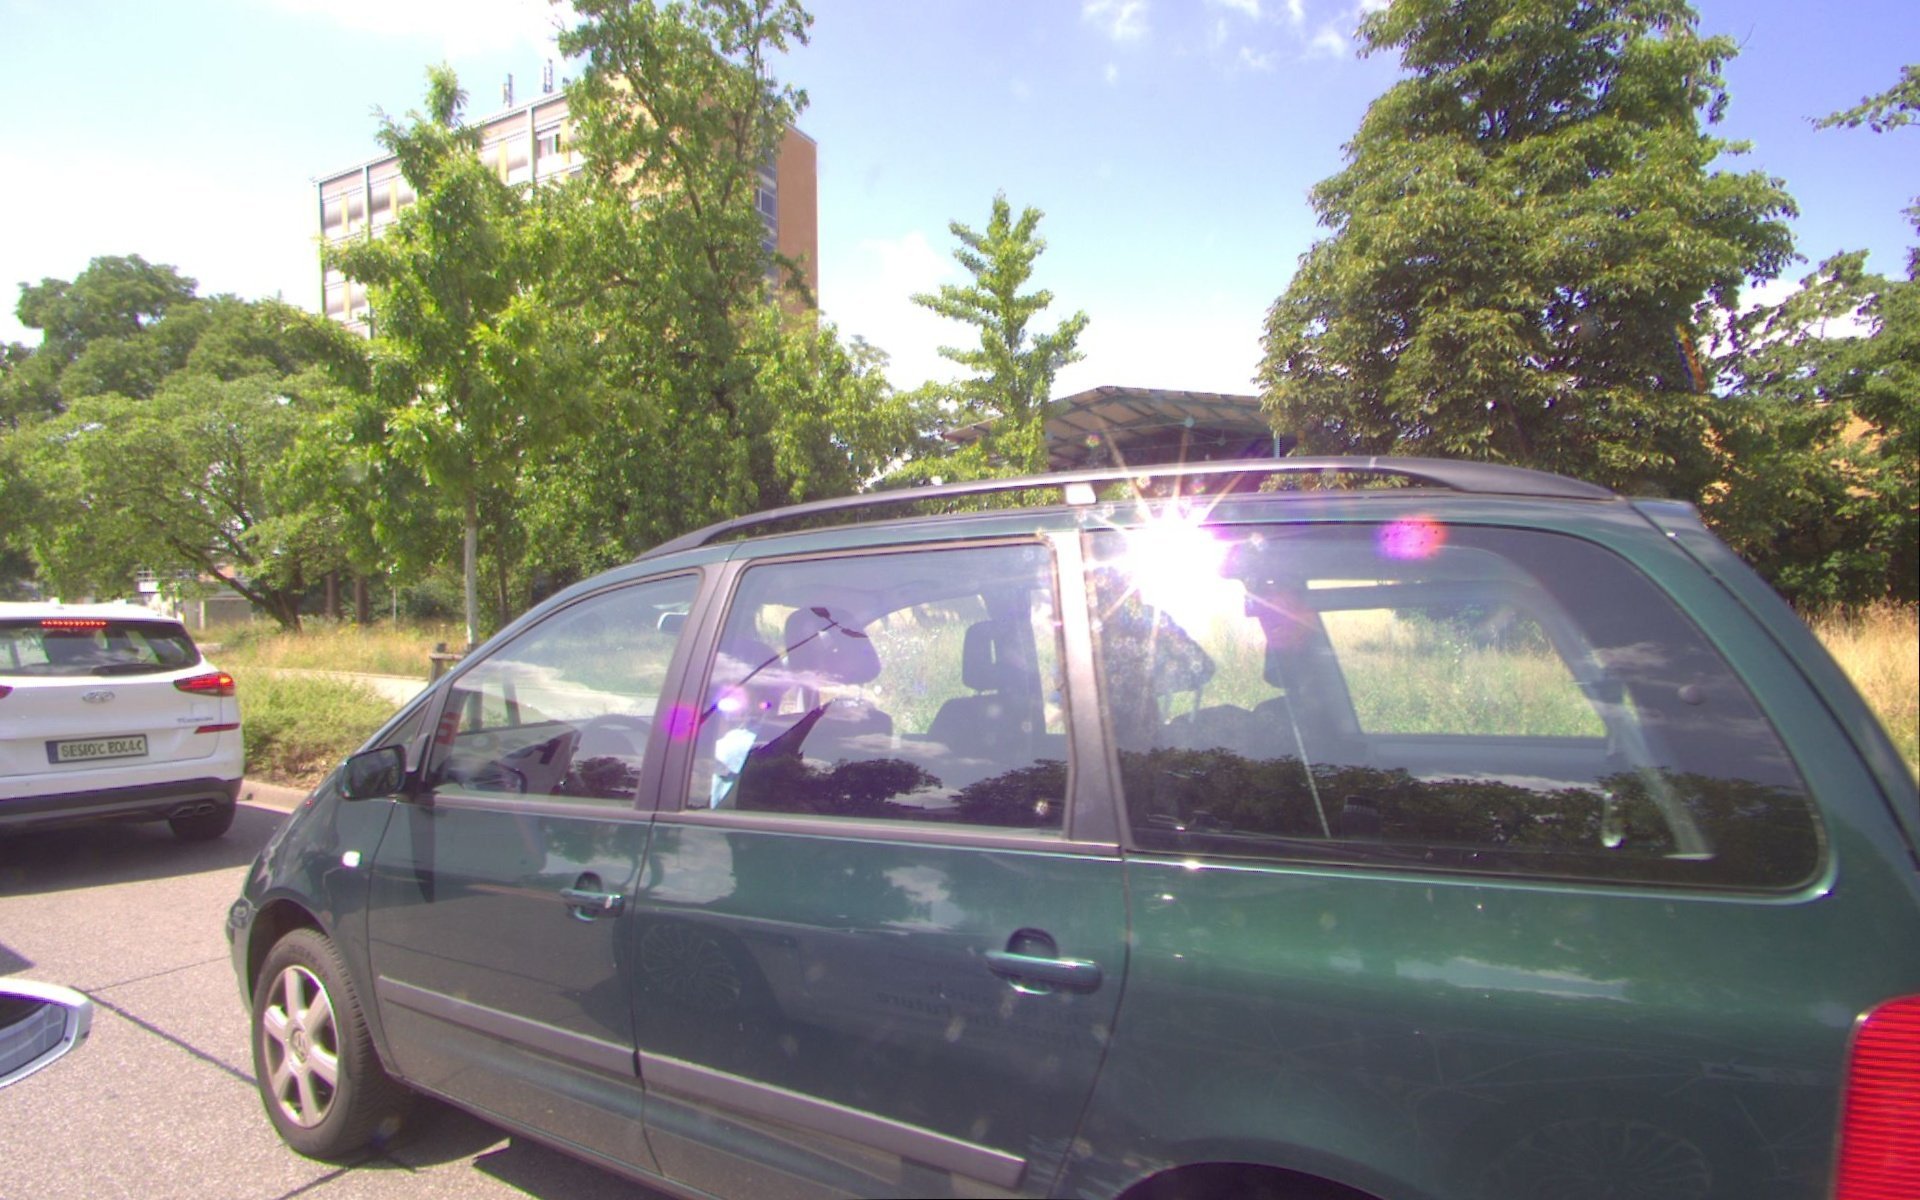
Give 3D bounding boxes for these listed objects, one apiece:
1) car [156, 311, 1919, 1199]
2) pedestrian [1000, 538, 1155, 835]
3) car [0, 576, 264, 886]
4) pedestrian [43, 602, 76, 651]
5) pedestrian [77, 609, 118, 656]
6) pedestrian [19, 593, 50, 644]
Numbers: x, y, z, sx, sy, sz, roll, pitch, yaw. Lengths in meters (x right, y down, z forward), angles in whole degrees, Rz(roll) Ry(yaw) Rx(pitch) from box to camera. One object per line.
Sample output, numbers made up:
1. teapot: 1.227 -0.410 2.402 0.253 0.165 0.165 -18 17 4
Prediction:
1. car: -0.172 0.621 2.734 4.324 1.757 1.809 0 -1 32
2. pedestrian: 0.847 0.565 7.069 0.762 1.917 0.948 0 0 32
3. car: -6.704 0.735 6.963 3.945 1.710 1.793 0 0 34
4. pedestrian: -38.174 1.111 42.449 0.730 2.040 0.843 0 0 32
5. pedestrian: -29.108 1.070 33.794 0.823 1.559 0.843 0 0 32
6. pedestrian: -38.385 0.751 41.531 0.731 2.085 0.842 0 1 37
